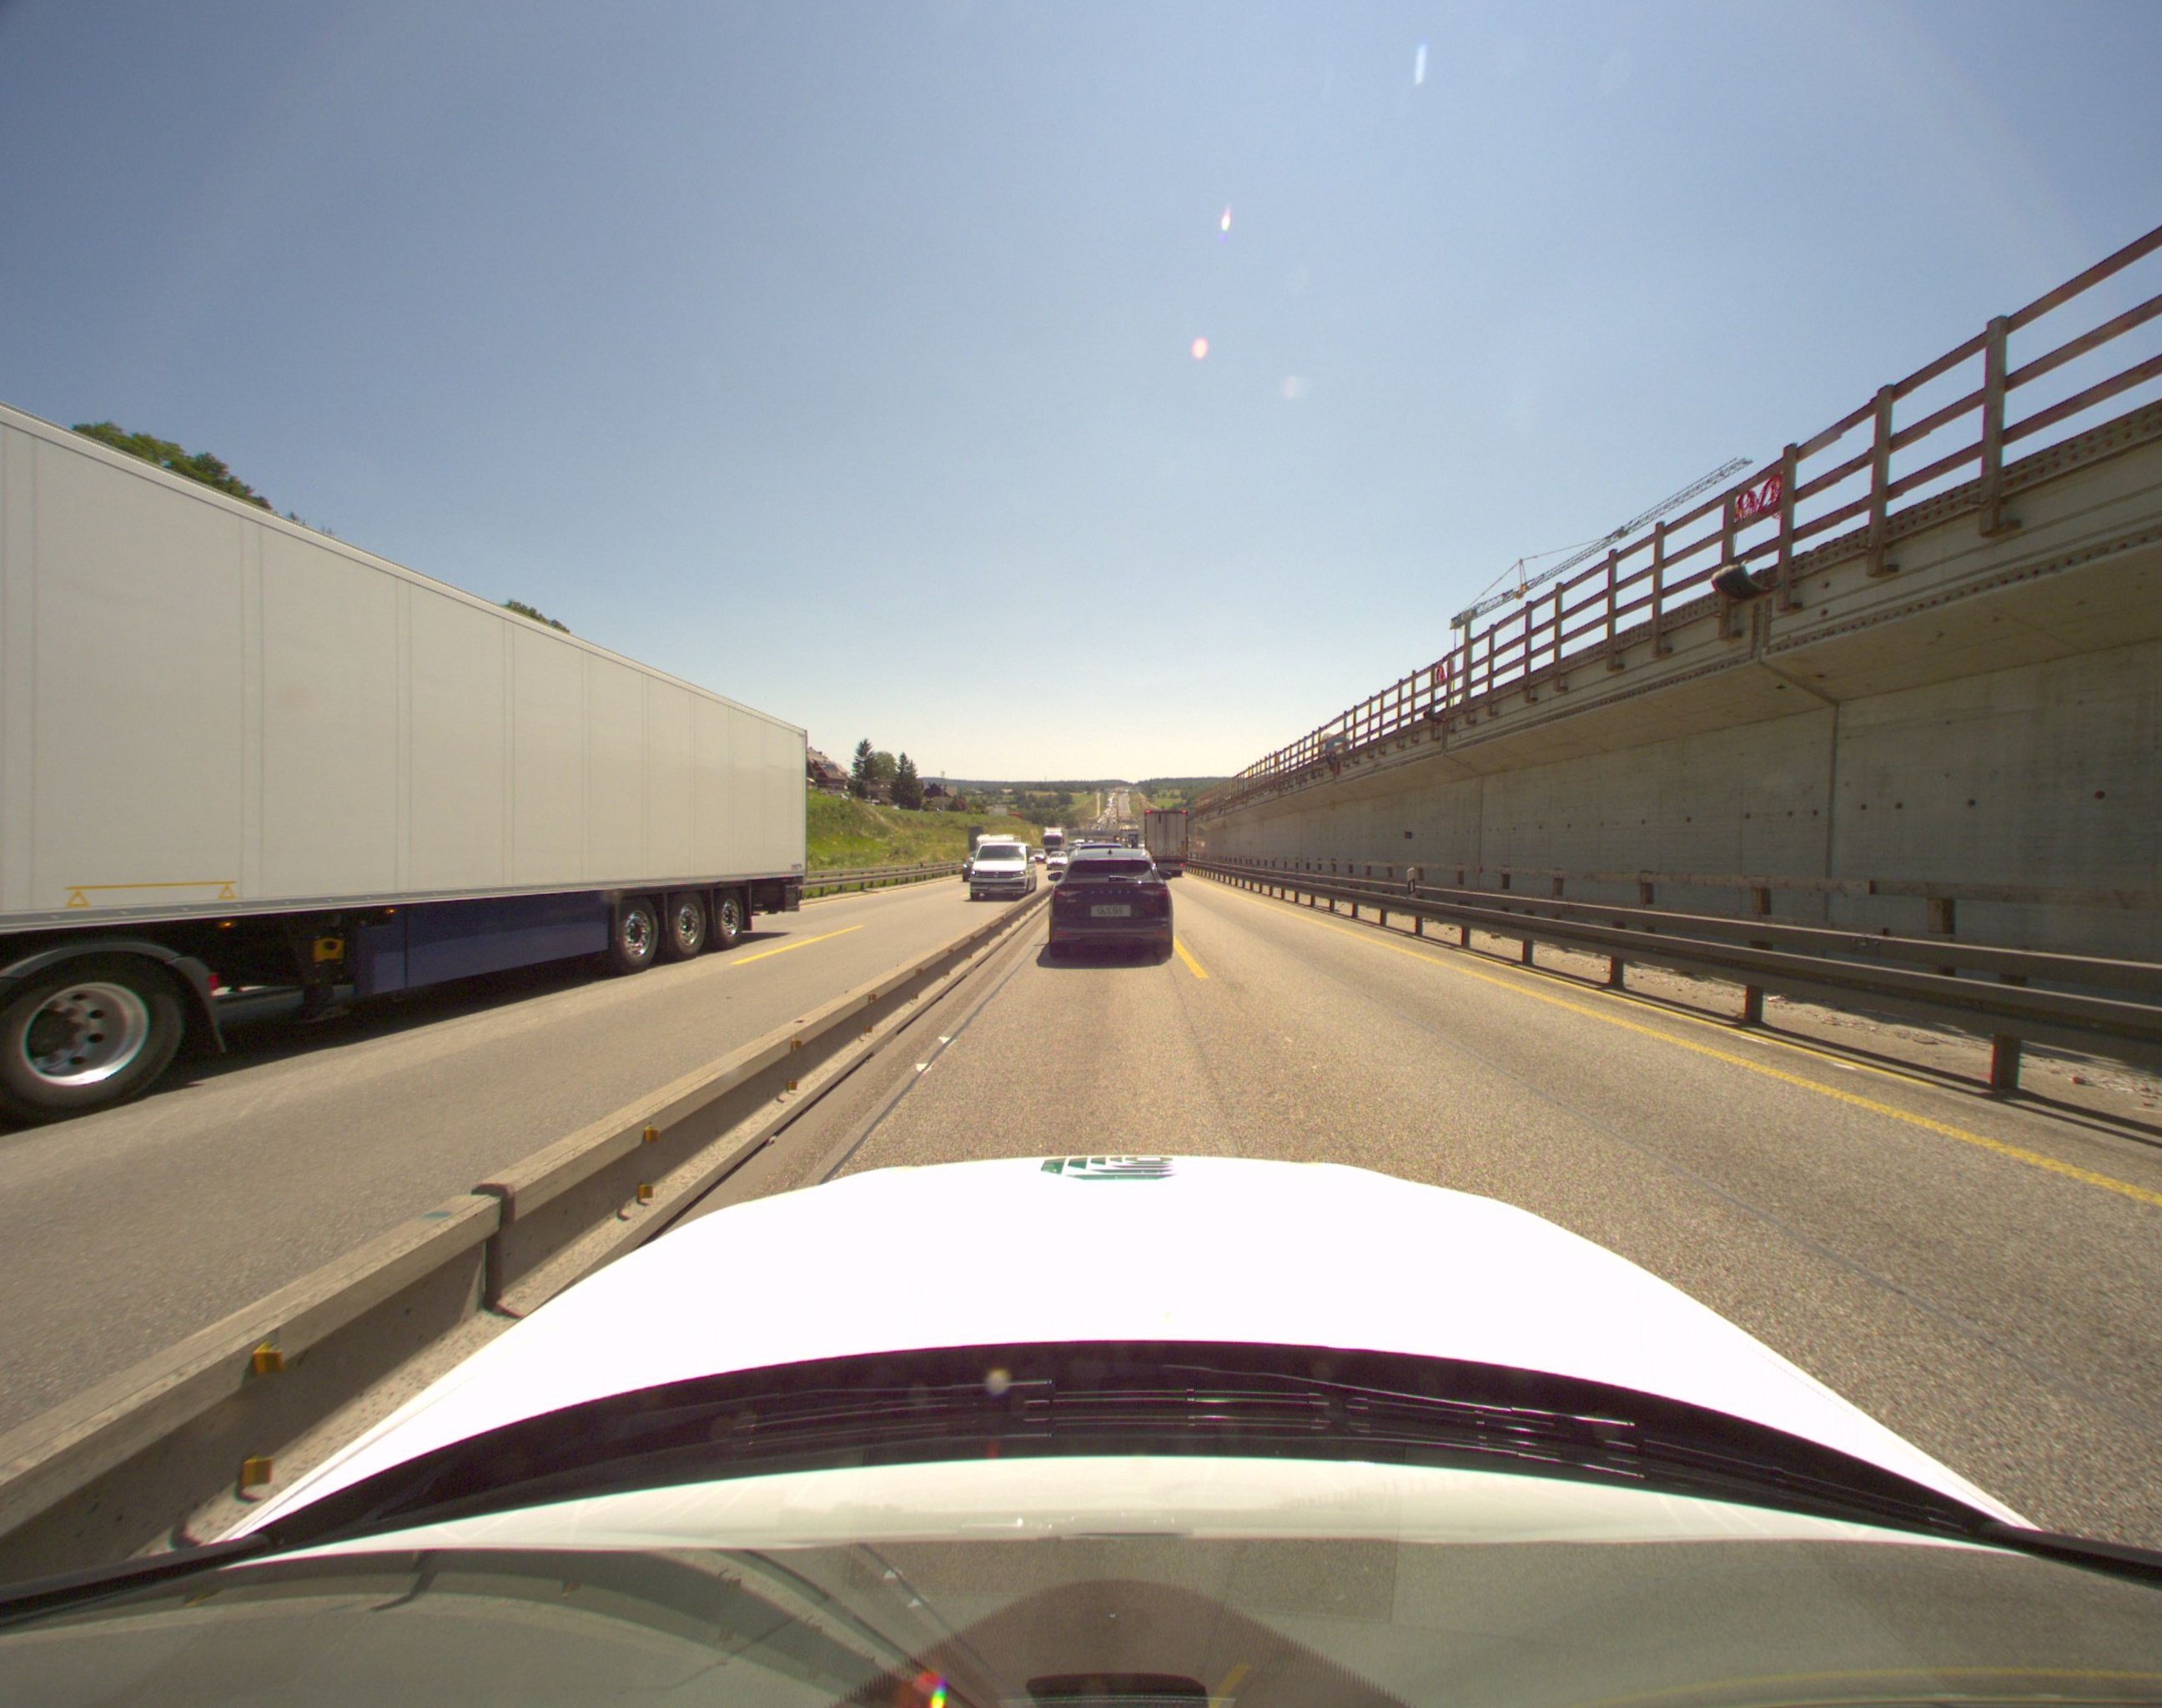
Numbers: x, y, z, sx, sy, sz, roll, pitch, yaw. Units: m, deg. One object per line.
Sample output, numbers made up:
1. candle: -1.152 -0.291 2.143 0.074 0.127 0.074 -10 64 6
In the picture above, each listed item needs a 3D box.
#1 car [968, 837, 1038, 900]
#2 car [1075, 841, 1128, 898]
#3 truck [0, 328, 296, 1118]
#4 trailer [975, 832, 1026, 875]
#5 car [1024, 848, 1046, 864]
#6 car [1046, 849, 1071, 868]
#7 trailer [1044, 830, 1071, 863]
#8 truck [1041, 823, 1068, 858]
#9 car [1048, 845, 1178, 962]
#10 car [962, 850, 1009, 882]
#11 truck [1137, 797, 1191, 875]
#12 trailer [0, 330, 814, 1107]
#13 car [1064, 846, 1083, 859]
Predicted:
1. car: -2.620 0.483 28.496 1.856 2.014 4.806 0 -1 1
2. car: 0.698 0.538 29.819 1.744 1.895 3.754 2 0 -1
3. truck: -7.400 -0.726 2.697 3.170 4.238 6.484 0 -1 0
4. trailer: -5.203 0.037 53.433 2.475 2.613 5.870 -1 -1 2
5. car: -4.557 0.184 81.255 1.865 1.442 4.001 4 -1 1
6. car: -1.735 0.391 63.756 1.696 1.441 4.002 -1 -1 2
7. trailer: -3.199 -0.884 115.656 2.750 4.273 14.639 3 -1 2
8. truck: -3.425 -1.717 109.083 2.742 4.227 8.104 3 -1 3
9. car: 0.463 0.679 12.998 1.777 1.597 3.755 0 0 0
10. car: -5.299 0.649 45.729 1.869 1.712 4.650 0 0 3
11. truck: 5.329 -1.000 54.253 2.835 4.615 11.816 1 -1 2
12. trailer: -7.211 -0.730 9.709 3.208 4.158 13.413 0 0 2
13. car: -0.781 -0.159 84.688 1.764 1.288 4.002 1 -1 3
